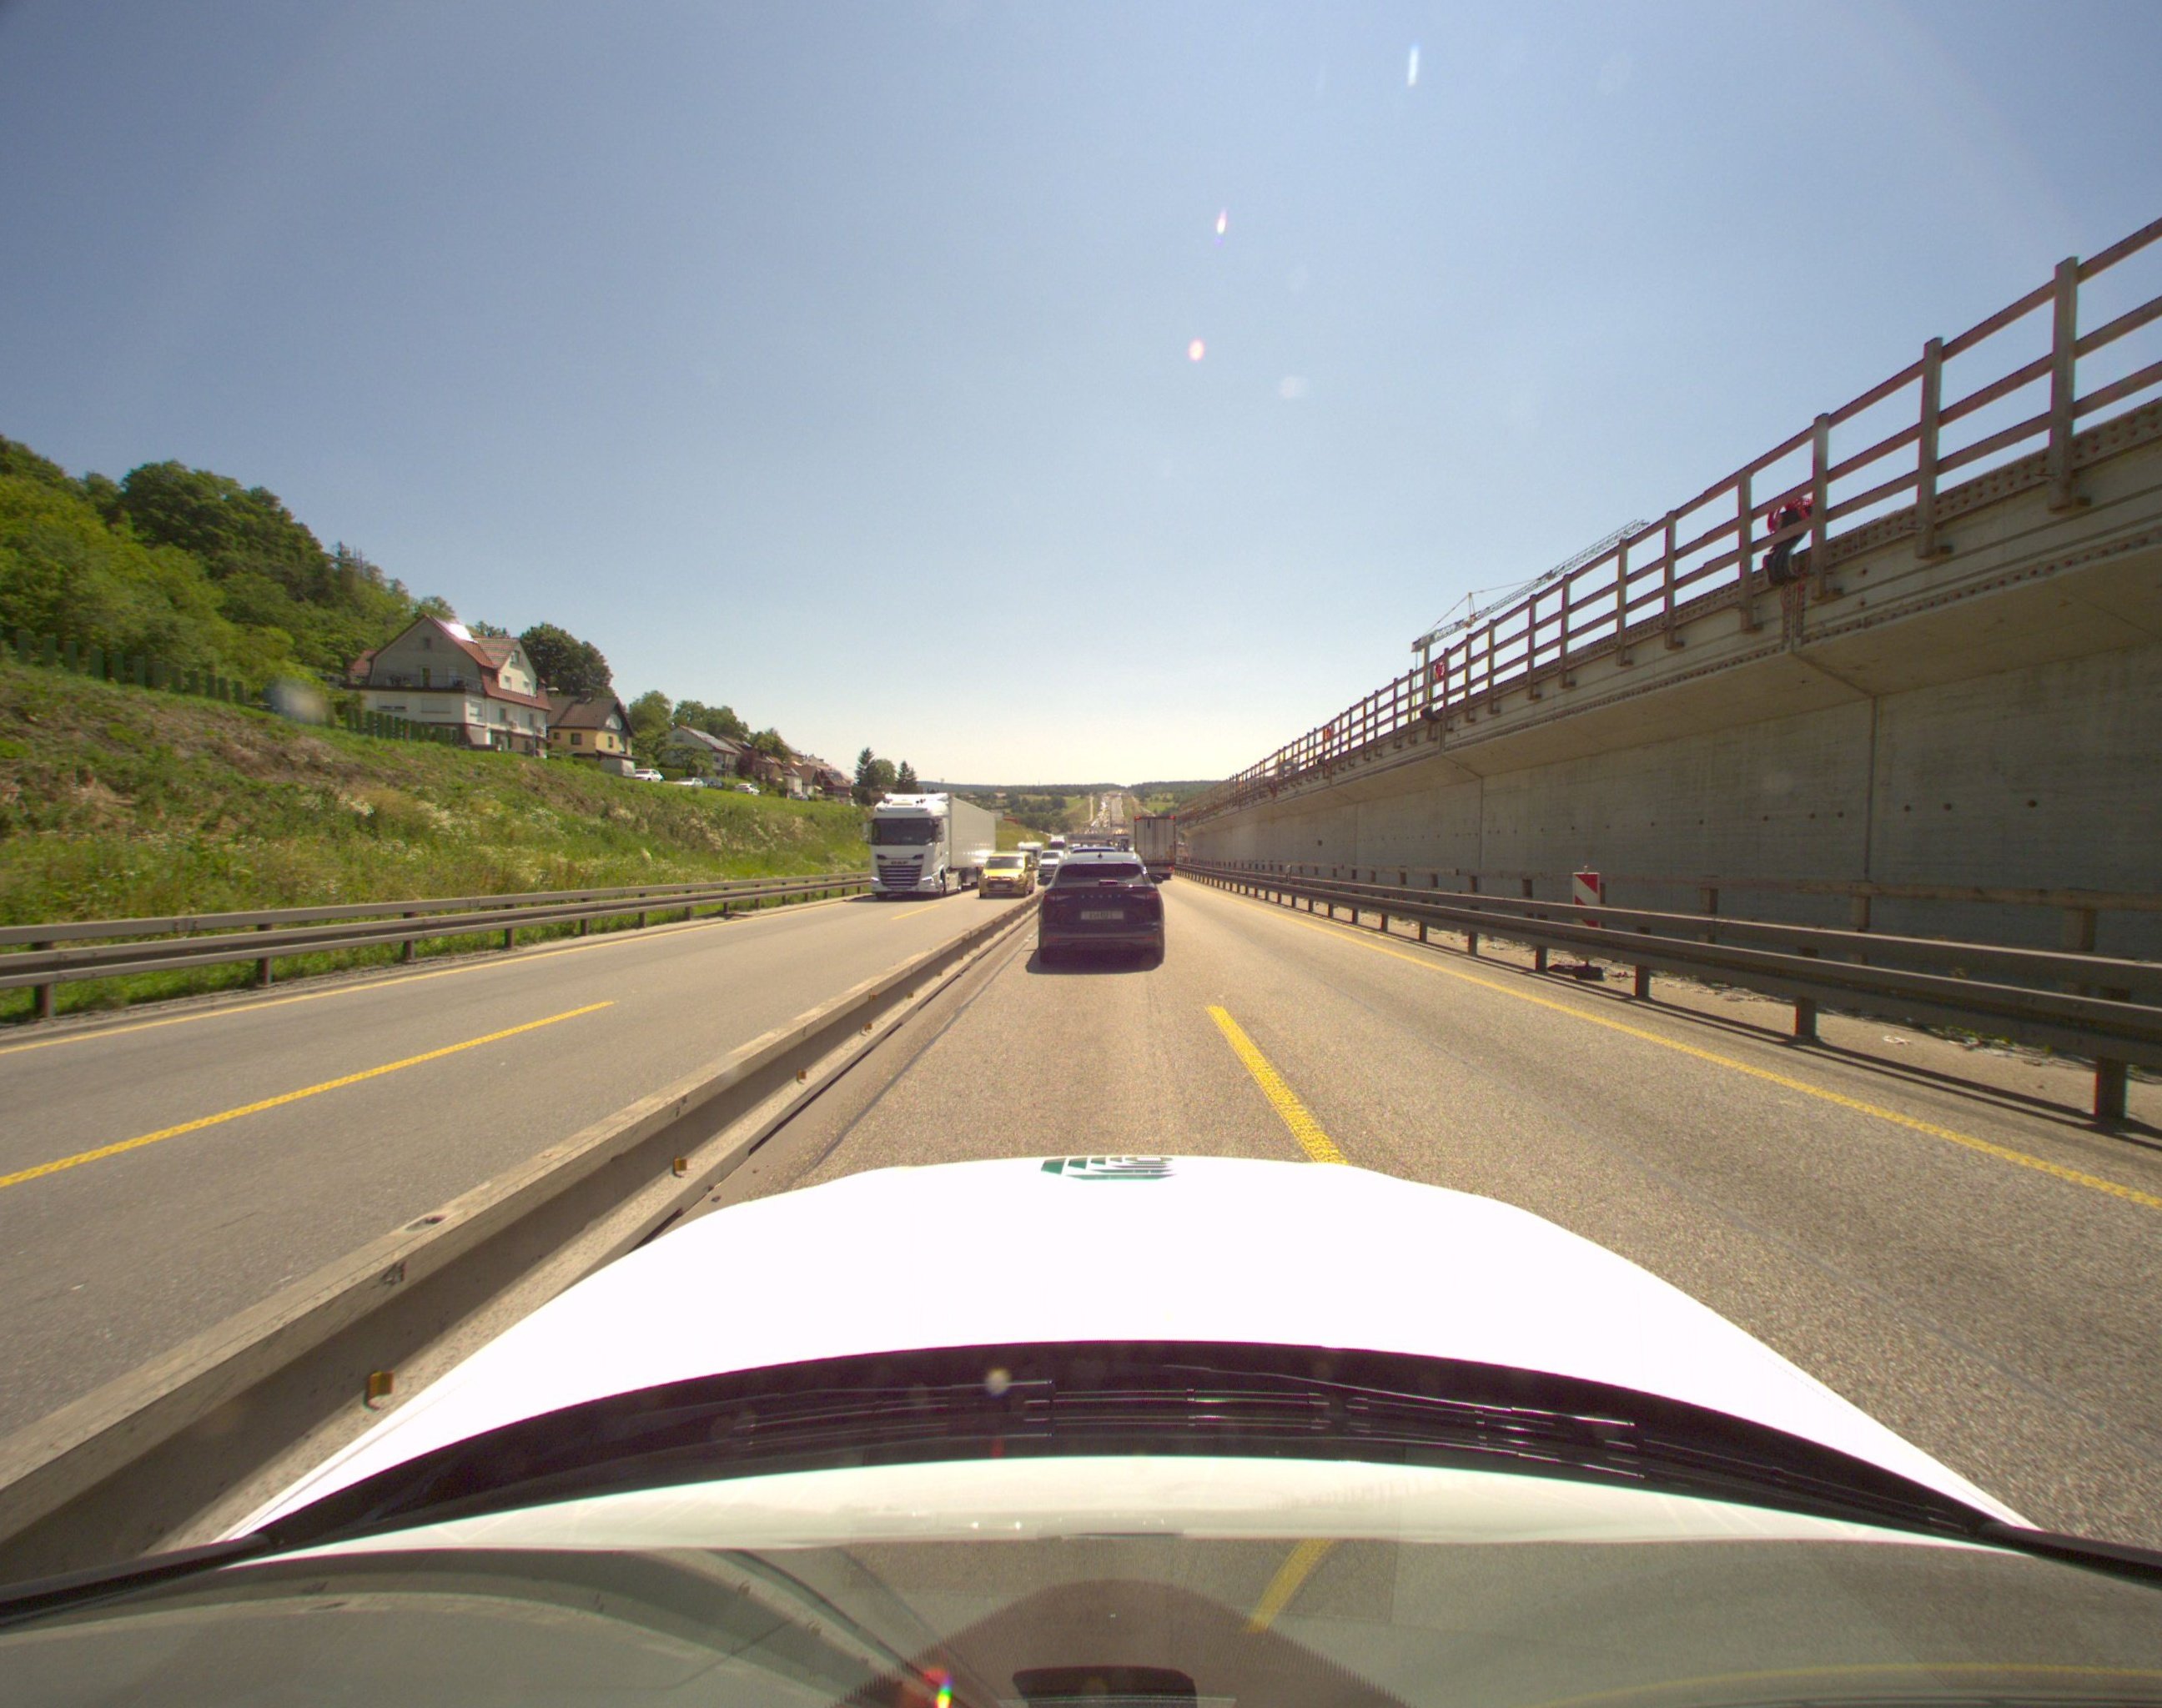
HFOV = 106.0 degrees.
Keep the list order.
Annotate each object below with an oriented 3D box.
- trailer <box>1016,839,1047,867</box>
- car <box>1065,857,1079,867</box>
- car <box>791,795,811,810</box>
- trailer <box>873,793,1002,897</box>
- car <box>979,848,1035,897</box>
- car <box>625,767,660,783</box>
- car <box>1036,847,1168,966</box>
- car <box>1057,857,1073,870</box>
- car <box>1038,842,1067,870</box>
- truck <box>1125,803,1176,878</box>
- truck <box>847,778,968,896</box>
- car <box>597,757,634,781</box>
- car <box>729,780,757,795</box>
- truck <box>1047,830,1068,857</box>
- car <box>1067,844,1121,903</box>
[{"bbox_3d":[-4.955,-0.055,82.457,2.475,2.613,5.869,-1,-1,2],"label":"trailer"},{"bbox_3d":[-1.292,1.170,115.729,1.765,1.288,4.002,1,-1,2],"label":"car"},{"bbox_3d":[-38.929,-7.139,113.236,1.925,1.728,3.987,0,0,-9],"label":"car"},{"bbox_3d":[-6.394,-0.333,39.284,3.207,4.158,13.416,0,0,3],"label":"trailer"},{"bbox_3d":[-2.868,0.683,32.428,1.769,1.820,4.434,0,0,1],"label":"car"},{"bbox_3d":[-35.757,-6.428,66.518,1.278,1.039,3.269,0,0,-5],"label":"car"},{"bbox_3d":[0.285,0.714,12.833,1.777,1.597,3.754,0,0,0],"label":"car"},{"bbox_3d":[-1.874,1.148,97.561,1.696,1.441,4.002,-1,-1,2],"label":"car"},{"bbox_3d":[-2.058,0.203,60.149,1.856,2.014,4.806,0,-1,1],"label":"car"},{"bbox_3d":[4.661,-0.743,56.581,2.835,4.615,11.814,1,-1,2],"label":"truck"},{"bbox_3d":[-6.680,-0.561,32.473,3.168,4.238,6.487,0,-1,2],"label":"truck"},{"bbox_3d":[-35.391,-6.433,62.022,1.732,1.398,3.777,2,-1,-19],"label":"car"},{"bbox_3d":[-38.755,-7.612,93.501,1.993,1.320,3.986,4,-1,-10],"label":"car"},{"bbox_3d":[-3.899,-1.705,138.176,2.742,4.227,8.102,3,-1,2],"label":"truck"},{"bbox_3d":[0.413,0.678,29.158,1.744,1.895,3.753,2,-1,-1],"label":"car"}]
